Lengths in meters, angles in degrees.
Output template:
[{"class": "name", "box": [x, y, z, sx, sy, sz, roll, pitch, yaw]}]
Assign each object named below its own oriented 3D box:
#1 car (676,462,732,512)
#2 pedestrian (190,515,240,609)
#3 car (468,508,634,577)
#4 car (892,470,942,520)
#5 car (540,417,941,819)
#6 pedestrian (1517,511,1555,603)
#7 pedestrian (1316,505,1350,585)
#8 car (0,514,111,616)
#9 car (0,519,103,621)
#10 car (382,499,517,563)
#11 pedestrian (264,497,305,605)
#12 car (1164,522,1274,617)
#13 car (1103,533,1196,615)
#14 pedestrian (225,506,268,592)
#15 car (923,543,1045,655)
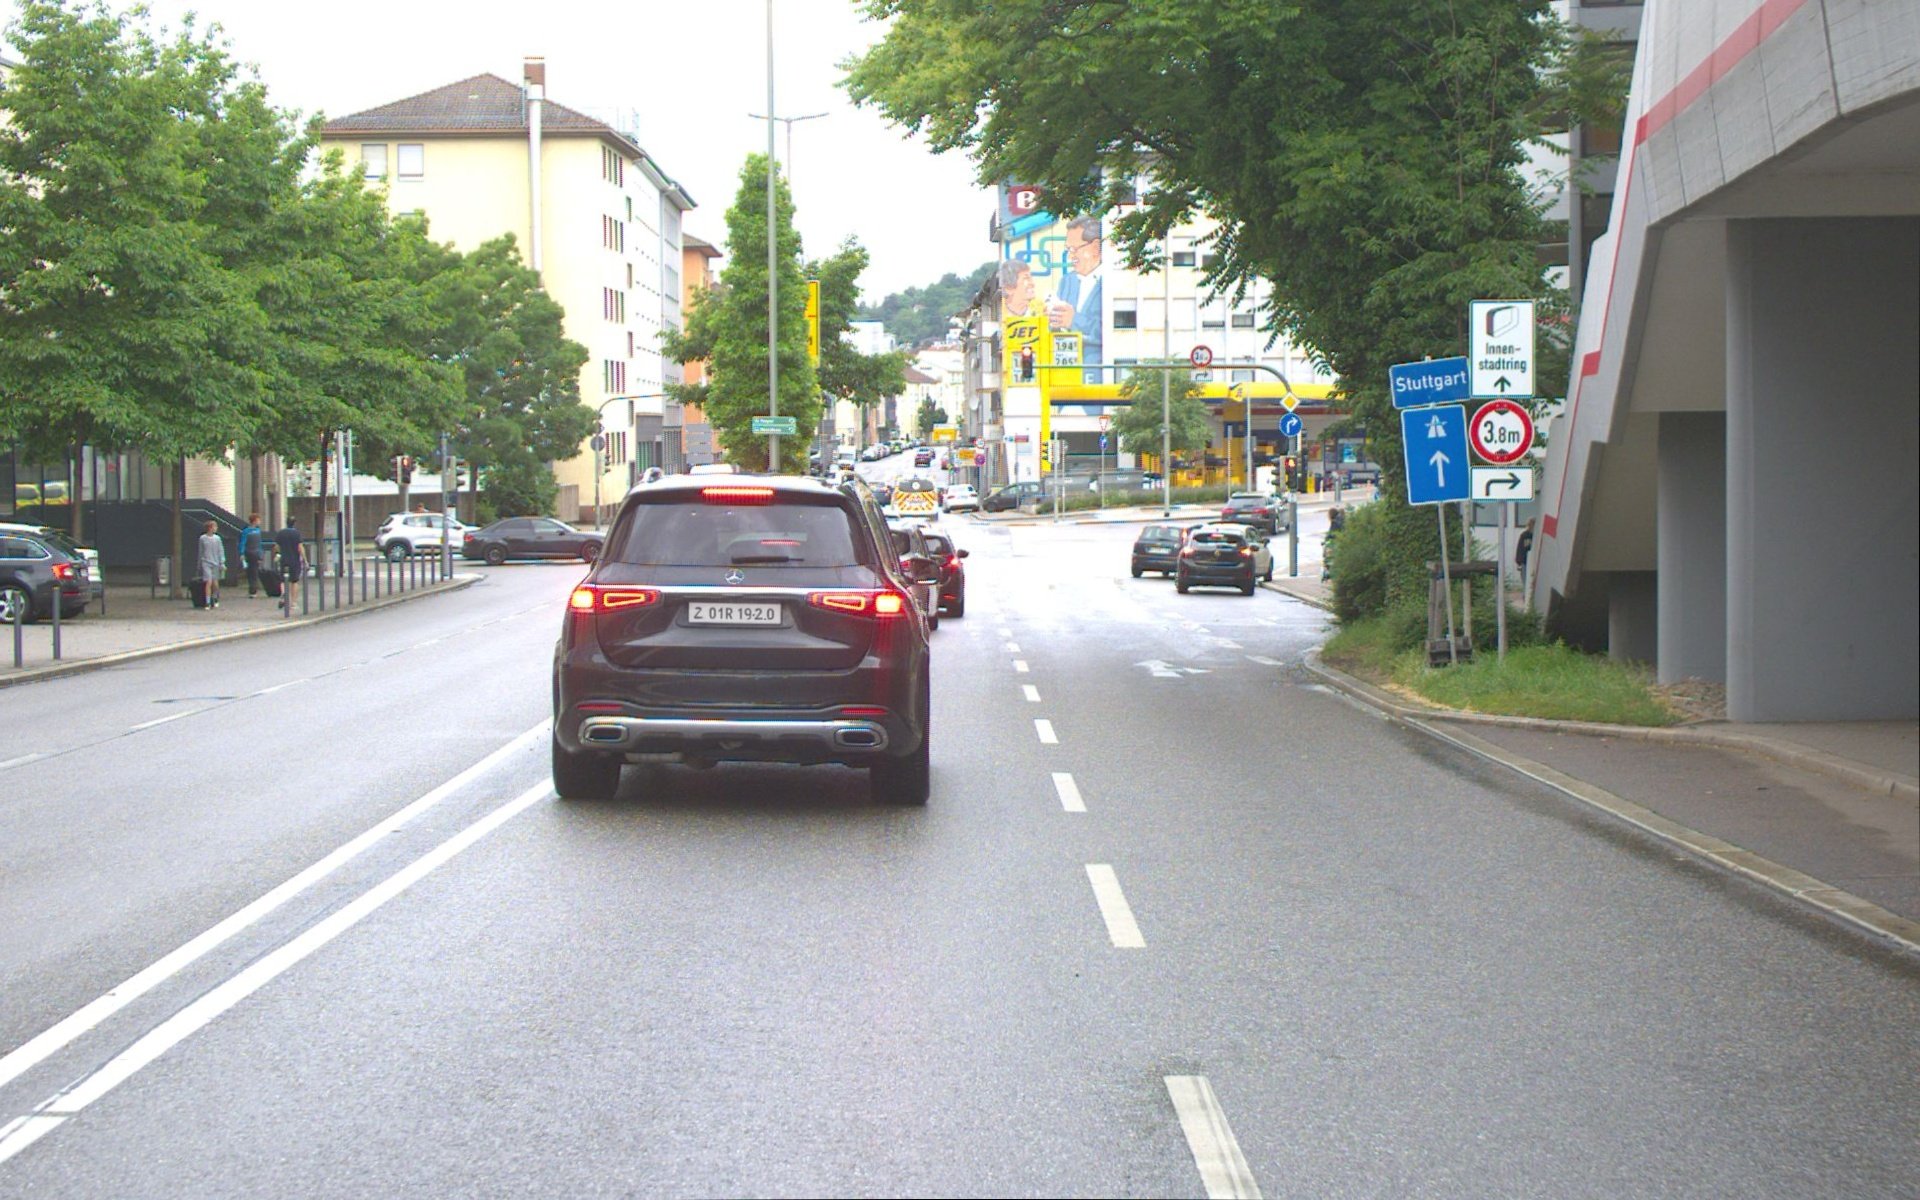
[{"class": "car", "box": [-10.418, -4.590, 140.196, 1.993, 1.868, 5.142, 2, 1, -2]}, {"class": "pedestrian", "box": [-13.832, -0.700, 63.849, 0.676, 1.691, 0.479, 5, 0, 2]}, {"class": "car", "box": [-12.027, -1.694, 101.091, 4.803, 2.006, 2.001, 0, 2, -8]}, {"class": "car", "box": [-1.818, -4.433, 145.033, 1.993, 2.006, 4.001, 2, 2, -2]}, {"class": "car", "box": [-1.180, 0.071, 19.597, 1.993, 2.007, 4.000, 2, 1, -2]}, {"class": "pedestrian", "box": [9.716, -0.729, 57.980, 0.551, 1.527, 0.488, 2, 0, 6]}, {"class": "pedestrian", "box": [8.977, -1.325, 82.763, 0.663, 1.911, 0.728, 2, 0, 14]}, {"class": "car", "box": [-16.469, -0.619, 56.926, 4.415, 1.568, 2.001, 1, 3, -5]}, {"class": "car", "box": [-16.099, -0.474, 54.816, 4.467, 1.581, 2.001, -1, 2, -6]}, {"class": "car", "box": [-15.611, -2.105, 105.074, 3.986, 1.936, 2.001, 0, 1, -12]}, {"class": "pedestrian", "box": [-12.739, -0.917, 64.855, 0.587, 2.007, 0.749, 2, 0, -2]}, {"class": "car", "box": [5.767, -0.701, 76.910, 1.993, 2.006, 4.001, 1, 2, -2]}, {"class": "car", "box": [4.865, -0.679, 88.759, 1.993, 2.007, 4.000, 2, 1, -2]}, {"class": "pedestrian", "box": [-14.581, -1.036, 70.308, 0.688, 1.719, 0.754, 2, -1, -1]}, {"class": "car", "box": [0.354, -0.036, 55.498, 1.703, 1.710, 3.444, 2, 1, -3]}]
